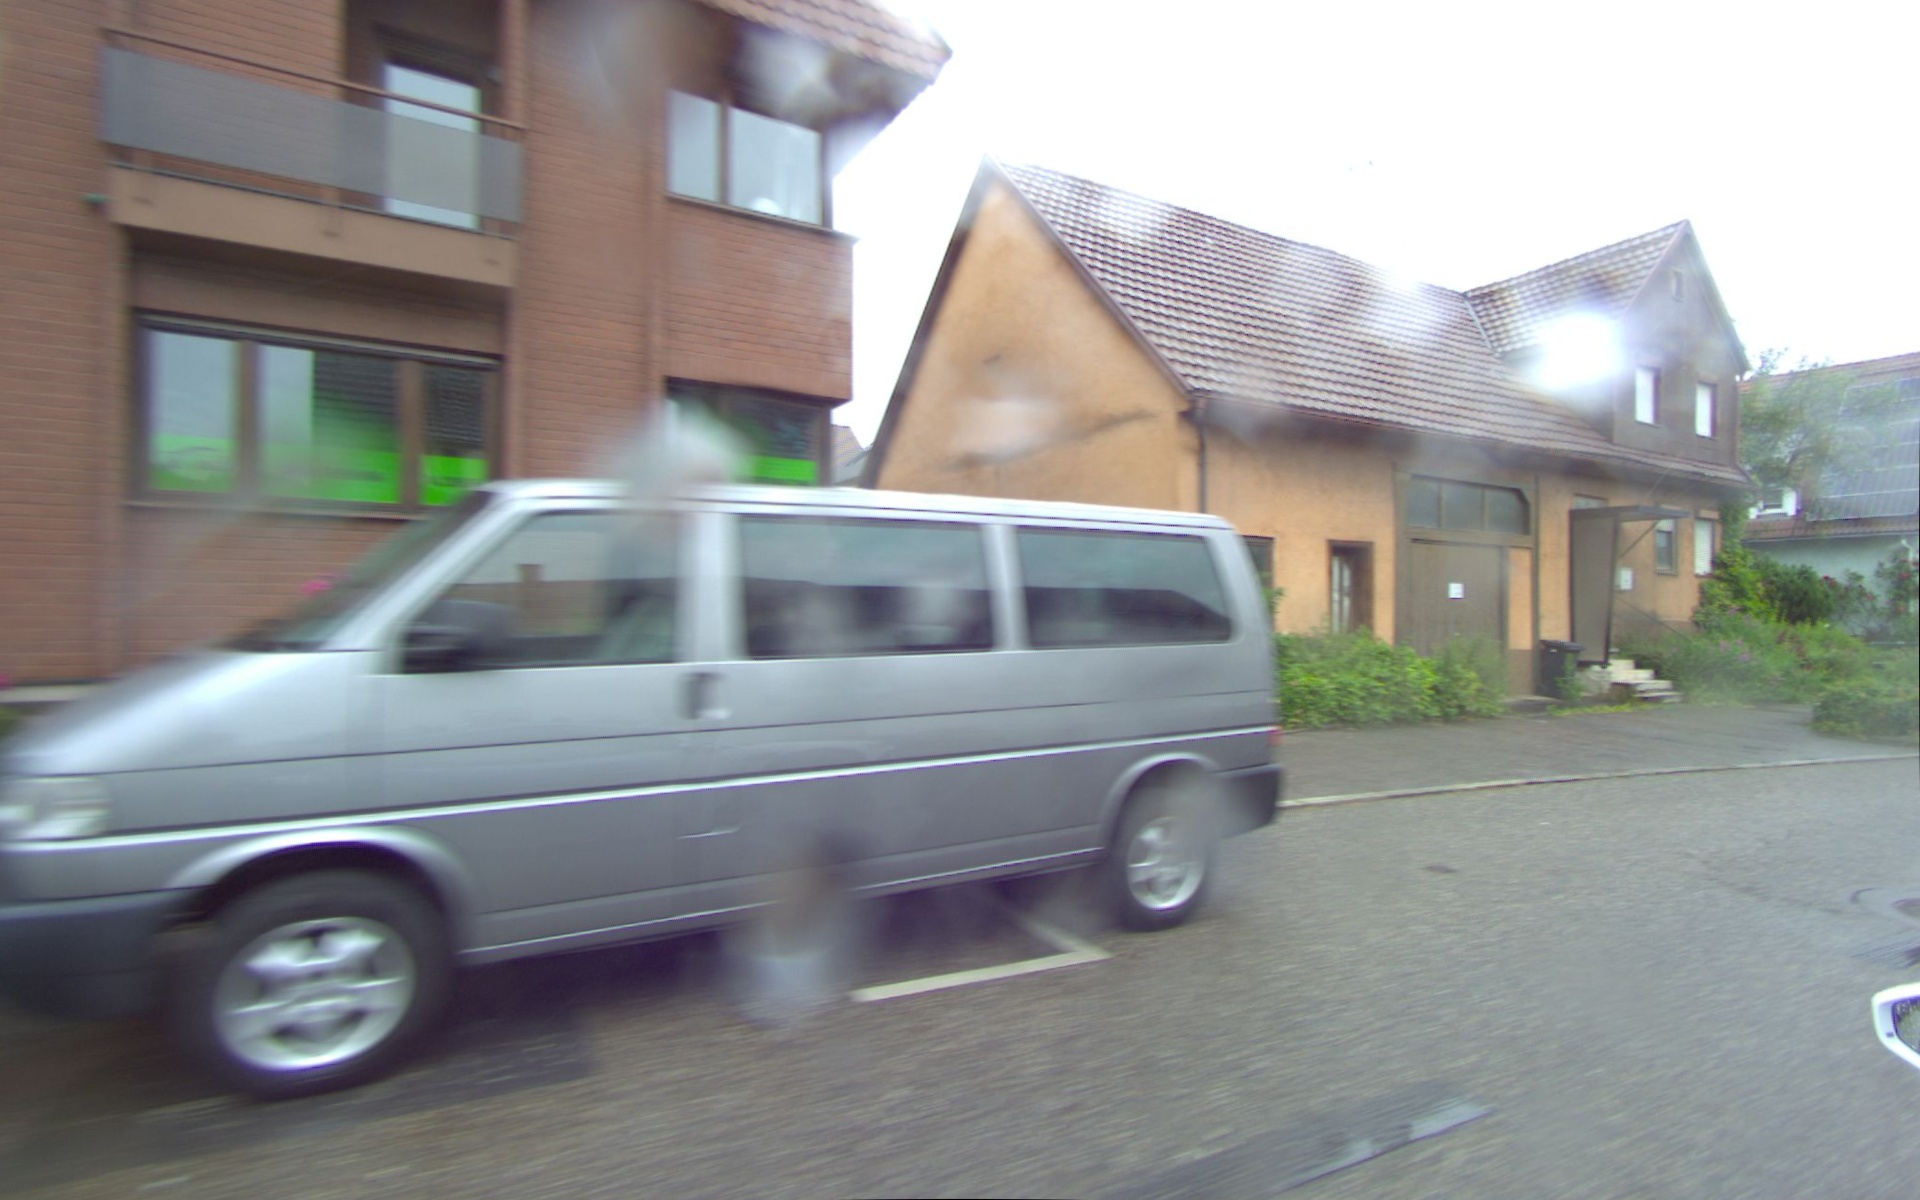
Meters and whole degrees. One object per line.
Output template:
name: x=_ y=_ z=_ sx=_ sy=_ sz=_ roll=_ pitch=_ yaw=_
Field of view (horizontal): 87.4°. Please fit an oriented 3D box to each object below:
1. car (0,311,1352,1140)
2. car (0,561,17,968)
car: x=-0.721 y=0.361 z=4.507 sx=5.154 sy=2.040 sz=1.812 roll=2 pitch=0 yaw=-31
car: x=-4.655 y=0.562 z=2.182 sx=3.530 sy=1.516 sz=1.569 roll=2 pitch=-2 yaw=-34
